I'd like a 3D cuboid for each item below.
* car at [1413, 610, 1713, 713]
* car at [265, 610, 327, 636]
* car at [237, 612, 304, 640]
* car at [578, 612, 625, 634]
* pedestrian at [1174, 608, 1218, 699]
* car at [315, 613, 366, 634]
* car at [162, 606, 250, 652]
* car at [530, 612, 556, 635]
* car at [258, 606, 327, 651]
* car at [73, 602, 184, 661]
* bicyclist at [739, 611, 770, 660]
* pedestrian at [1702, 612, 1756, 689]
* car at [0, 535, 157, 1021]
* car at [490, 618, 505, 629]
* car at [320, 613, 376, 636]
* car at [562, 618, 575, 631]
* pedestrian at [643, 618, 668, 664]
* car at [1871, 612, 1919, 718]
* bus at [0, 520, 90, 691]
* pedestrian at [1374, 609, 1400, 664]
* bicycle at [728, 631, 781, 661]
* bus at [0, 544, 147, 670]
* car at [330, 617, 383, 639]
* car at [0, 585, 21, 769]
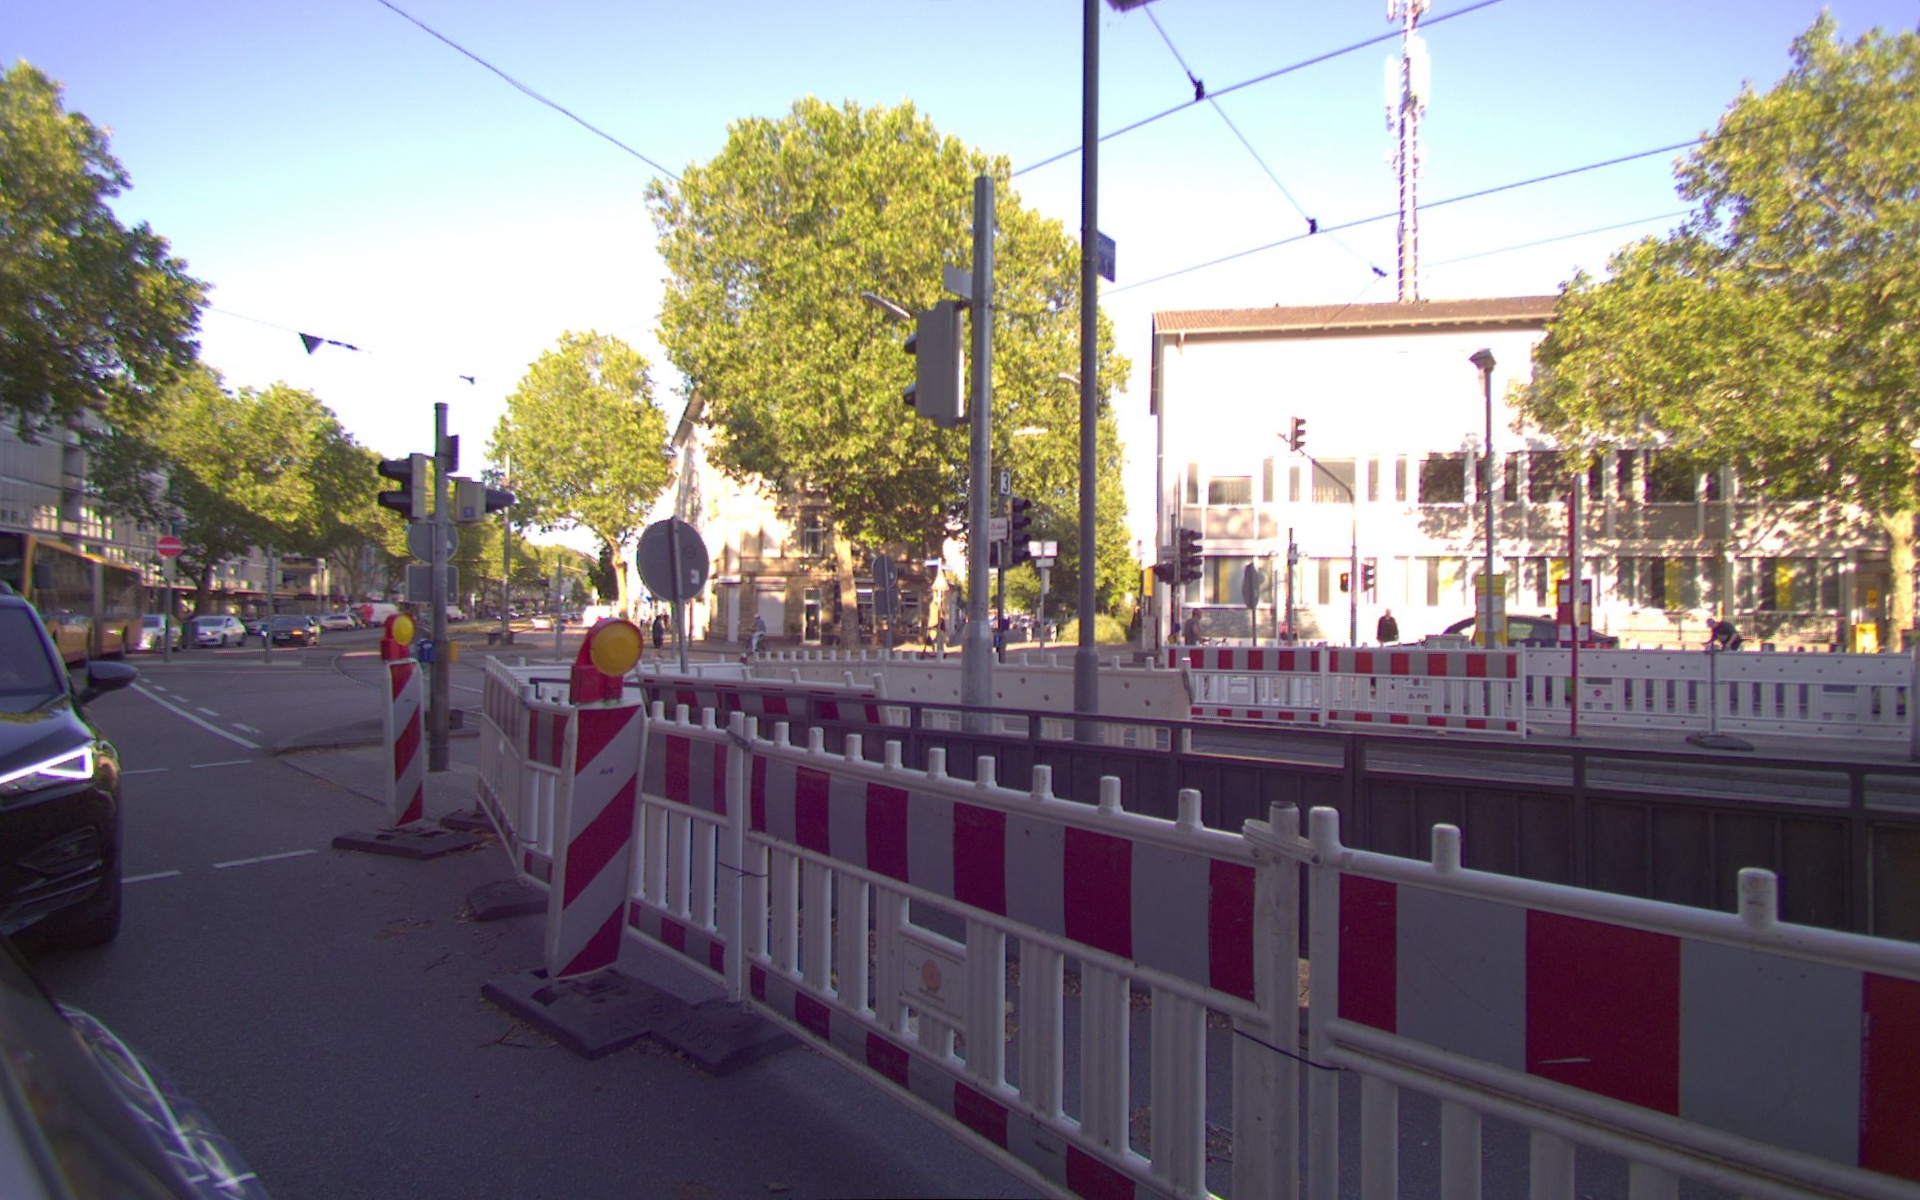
[{"bbox_3d":[11.034,1.051,18.677,4.552,1.674,1.974,-1,-2,38],"label":"car"},{"bbox_3d":[-53.985,1.866,82.343,3.938,2.029,2.002,1,-2,-42],"label":"car"},{"bbox_3d":[-50.670,1.907,74.457,3.932,2.029,2.006,1,-2,-32],"label":"car"},{"bbox_3d":[-34.263,2.201,96.779,1.990,2.029,3.963,0,-2,27],"label":"car"},{"bbox_3d":[4.654,1.040,19.977,0.545,1.760,0.693,1,-2,-24],"label":"pedestrian"},{"bbox_3d":[-60.090,2.270,98.203,3.938,2.029,2.002,1,-2,-42],"label":"car"},{"bbox_3d":[-34.635,1.340,46.611,1.966,2.029,4.012,1,-1,-17],"label":"car"},{"bbox_3d":[-37.178,2.121,90.345,1.965,2.029,4.013,1,-1,-20],"label":"car"},{"bbox_3d":[-31.443,1.335,47.778,1.965,2.029,4.013,1,-1,-22],"label":"car"},{"bbox_3d":[-30.584,1.145,37.382,1.965,2.029,4.111,1,-1,-21],"label":"car"},{"bbox_3d":[-8.667,1.489,42.682,0.983,2.029,0.844,-1,-2,40],"label":"bicyclist"},{"bbox_3d":[19.007,1.230,25.026,0.923,1.847,0.693,-1,-2,28],"label":"pedestrian"},{"bbox_3d":[-5.214,0.643,4.538,3.998,1.719,1.818,-1,-2,41],"label":"car"},{"bbox_3d":[-76.979,3.940,168.538,1.809,1.715,4.143,1,-2,-19],"label":"car"},{"bbox_3d":[-54.608,2.174,90.307,3.938,2.029,2.002,1,-2,-42],"label":"car"},{"bbox_3d":[-58.144,3.665,150.333,1.661,1.866,4.013,1,-1,-20],"label":"car"},{"bbox_3d":[-10.423,1.401,34.613,0.594,1.545,0.746,1,-2,-38],"label":"pedestrian"},{"bbox_3d":[16.923,1.022,15.683,3.994,1.674,1.974,-1,-2,38],"label":"car"},{"bbox_3d":[-20.740,0.150,21.511,2.678,3.130,8.641,1,-2,-36],"label":"bus"},{"bbox_3d":[12.366,1.054,29.313,0.649,1.564,0.563,-1,-2,28],"label":"pedestrian"},{"bbox_3d":[-8.699,1.927,42.691,2.463,1.202,0.841,-1,-2,40],"label":"bicycle"},{"bbox_3d":[-25.752,0.255,28.949,2.676,3.130,8.622,1,-2,-31],"label":"bus"},{"bbox_3d":[-56.819,2.659,95.251,3.938,2.029,2.002,1,-2,-42],"label":"car"},{"bbox_3d":[-10.747,0.697,9.814,4.073,1.656,1.973,-1,-2,41],"label":"car"}]
